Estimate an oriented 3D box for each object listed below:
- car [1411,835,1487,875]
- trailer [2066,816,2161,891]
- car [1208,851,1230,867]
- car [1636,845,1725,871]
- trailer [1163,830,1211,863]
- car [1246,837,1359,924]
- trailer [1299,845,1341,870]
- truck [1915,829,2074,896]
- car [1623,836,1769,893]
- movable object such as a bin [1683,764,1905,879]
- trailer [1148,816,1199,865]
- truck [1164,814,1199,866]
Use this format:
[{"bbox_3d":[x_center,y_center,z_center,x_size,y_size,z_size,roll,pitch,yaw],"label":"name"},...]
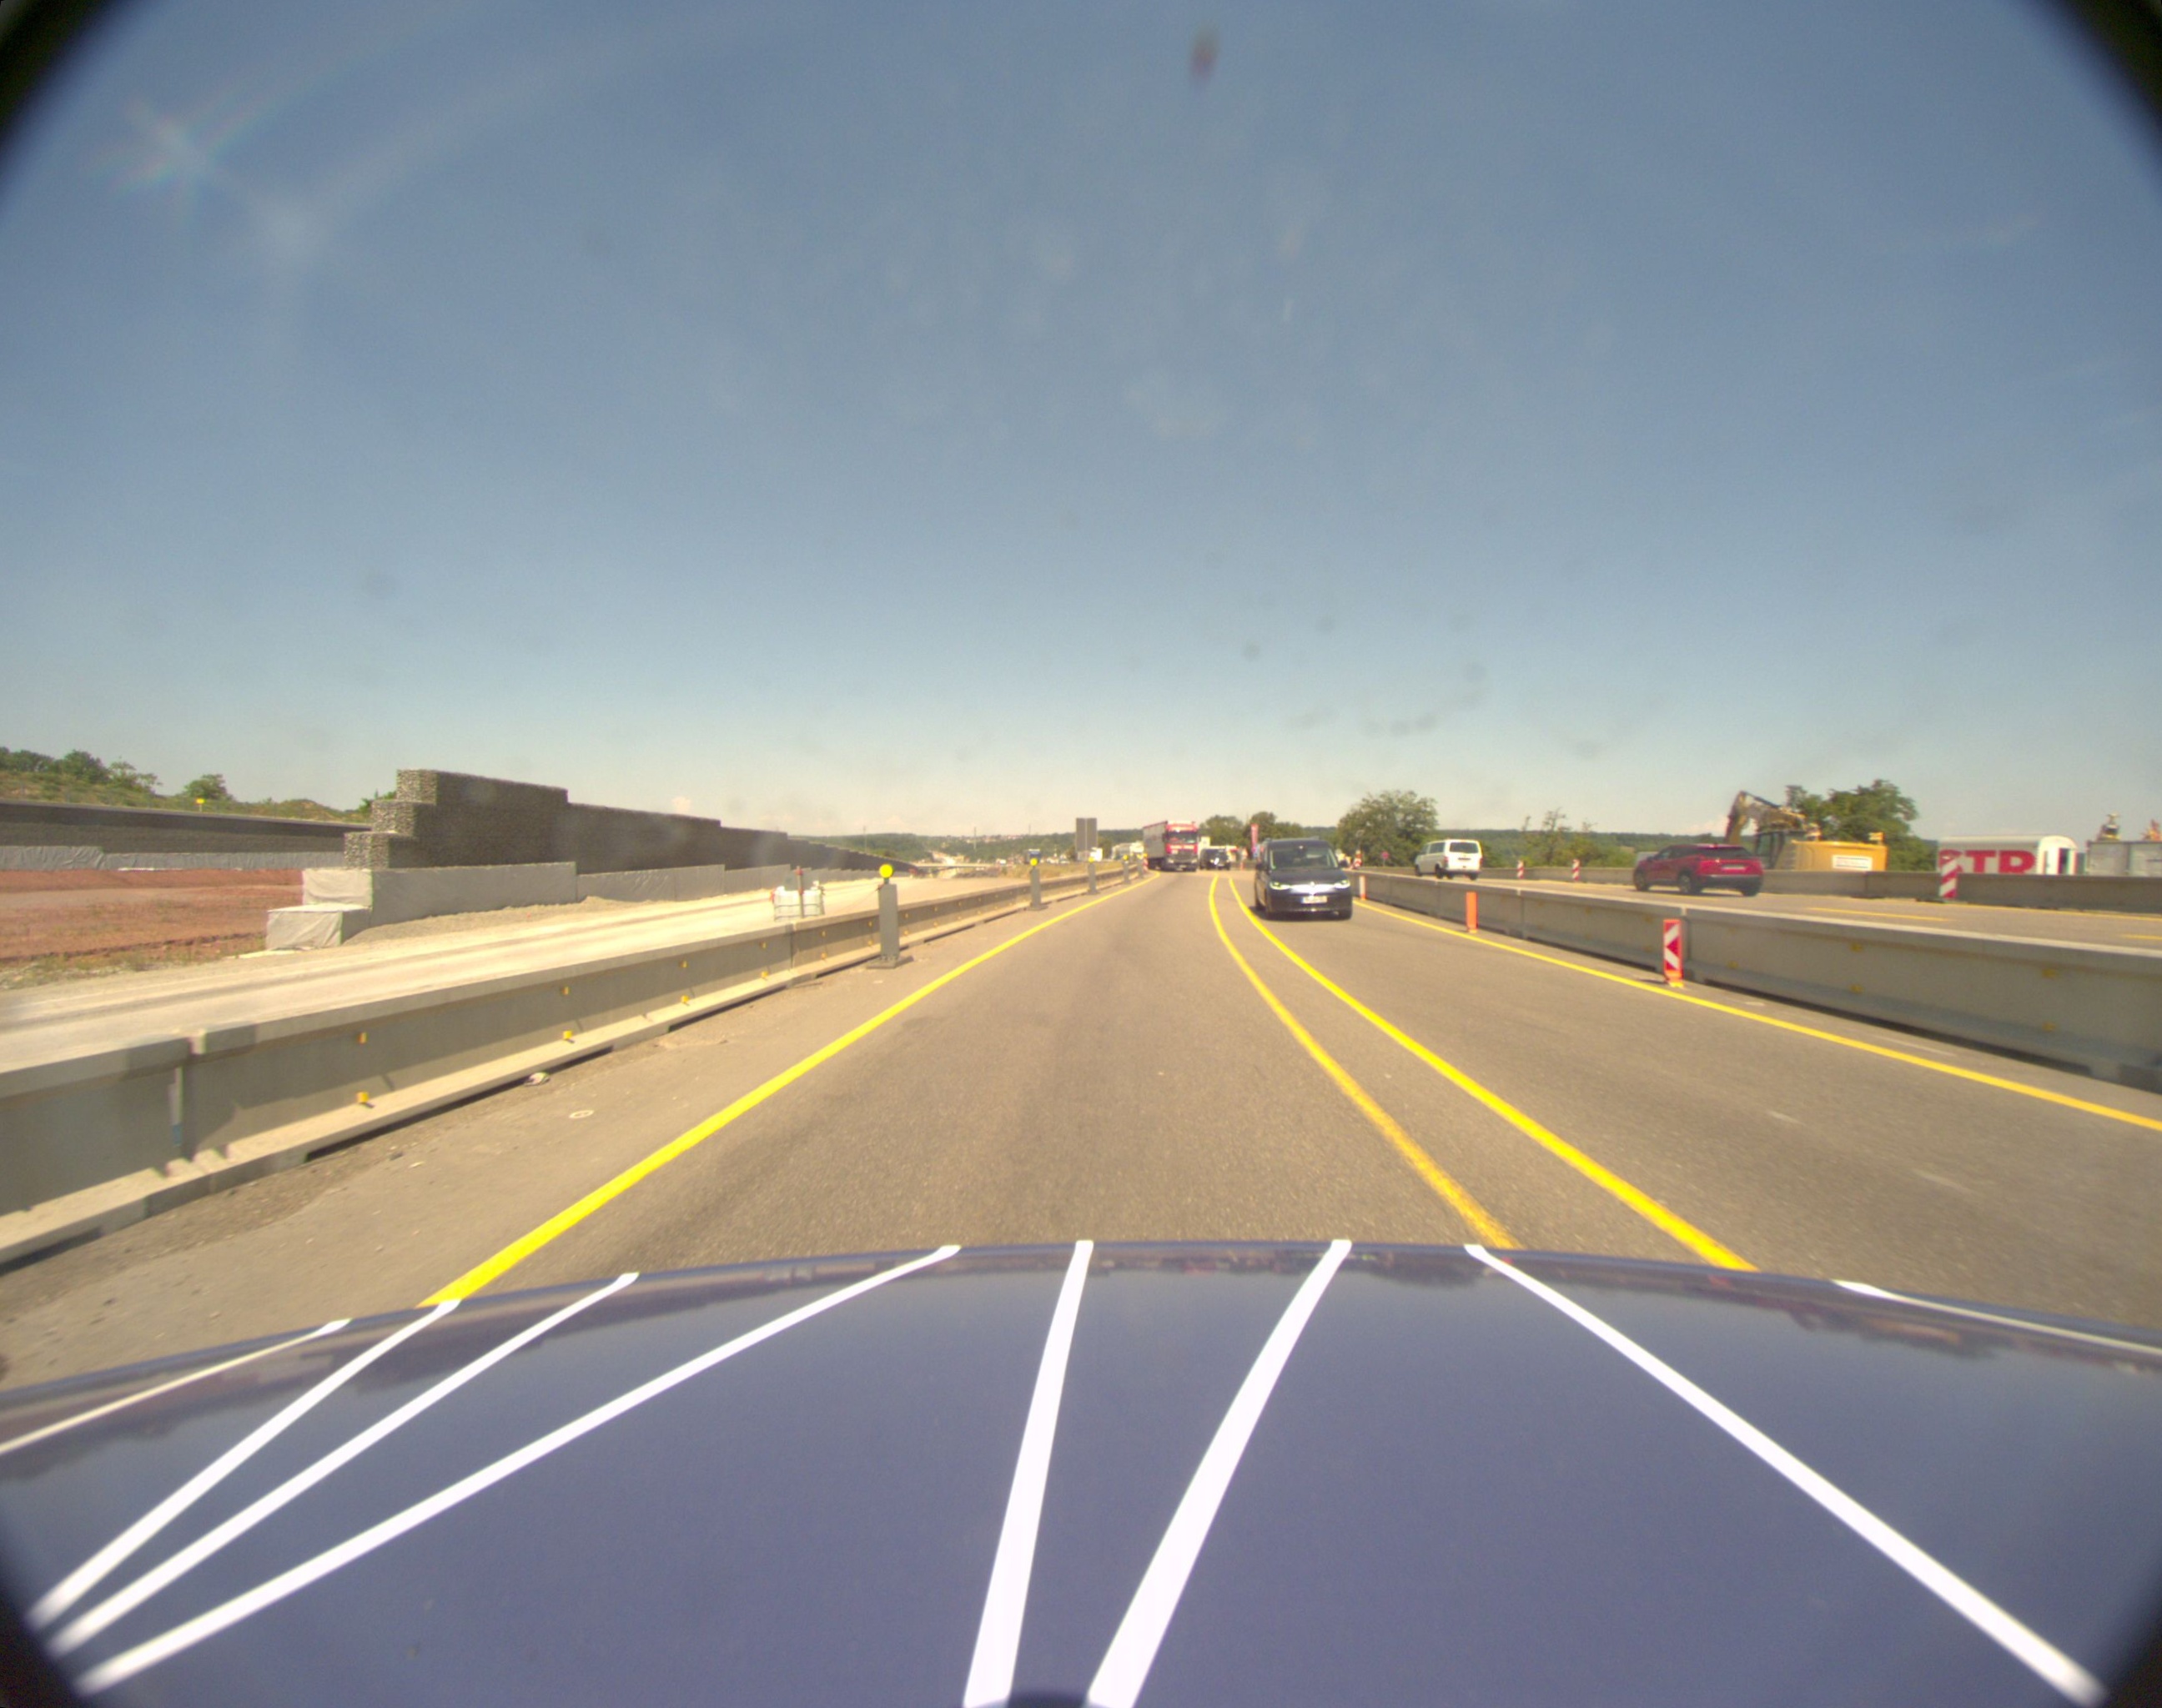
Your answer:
[{"bbox_3d":[18.929,0.058,39.369,1.870,1.942,4.893,0,0,4],"label":"car"},{"bbox_3d":[45.353,-0.033,31.706,5.582,2.979,2.881,0,0,-10],"label":"trailer"},{"bbox_3d":[11.805,0.406,65.035,1.713,1.254,4.003,0,0,9],"label":"car"},{"bbox_3d":[40.859,0.258,51.974,1.726,1.703,4.880,0,0,-10],"label":"car"},{"bbox_3d":[14.066,-0.954,102.085,2.595,4.128,13.053,0,0,-9],"label":"trailer"},{"bbox_3d":[5.103,0.539,18.116,1.924,1.779,4.606,-1,1,8],"label":"car"},{"bbox_3d":[19.716,0.302,62.911,1.871,2.010,4.434,0,0,-3],"label":"trailer"},{"bbox_3d":[43.795,0.386,36.594,2.349,3.026,4.261,0,0,-10],"label":"truck"},{"bbox_3d":[18.879,0.293,23.599,1.722,1.618,4.340,0,0,12],"label":"car"},{"bbox_3d":[30.526,-1.209,33.290,2.928,4.304,9.336,0,0,15],"label":"movable object such as a bin"},{"bbox_3d":[7.846,-1.056,66.310,2.702,3.852,12.420,0,0,-1],"label":"trailer"},{"bbox_3d":[7.846,-1.053,59.832,2.625,3.880,4.936,0,0,6],"label":"truck"}]
